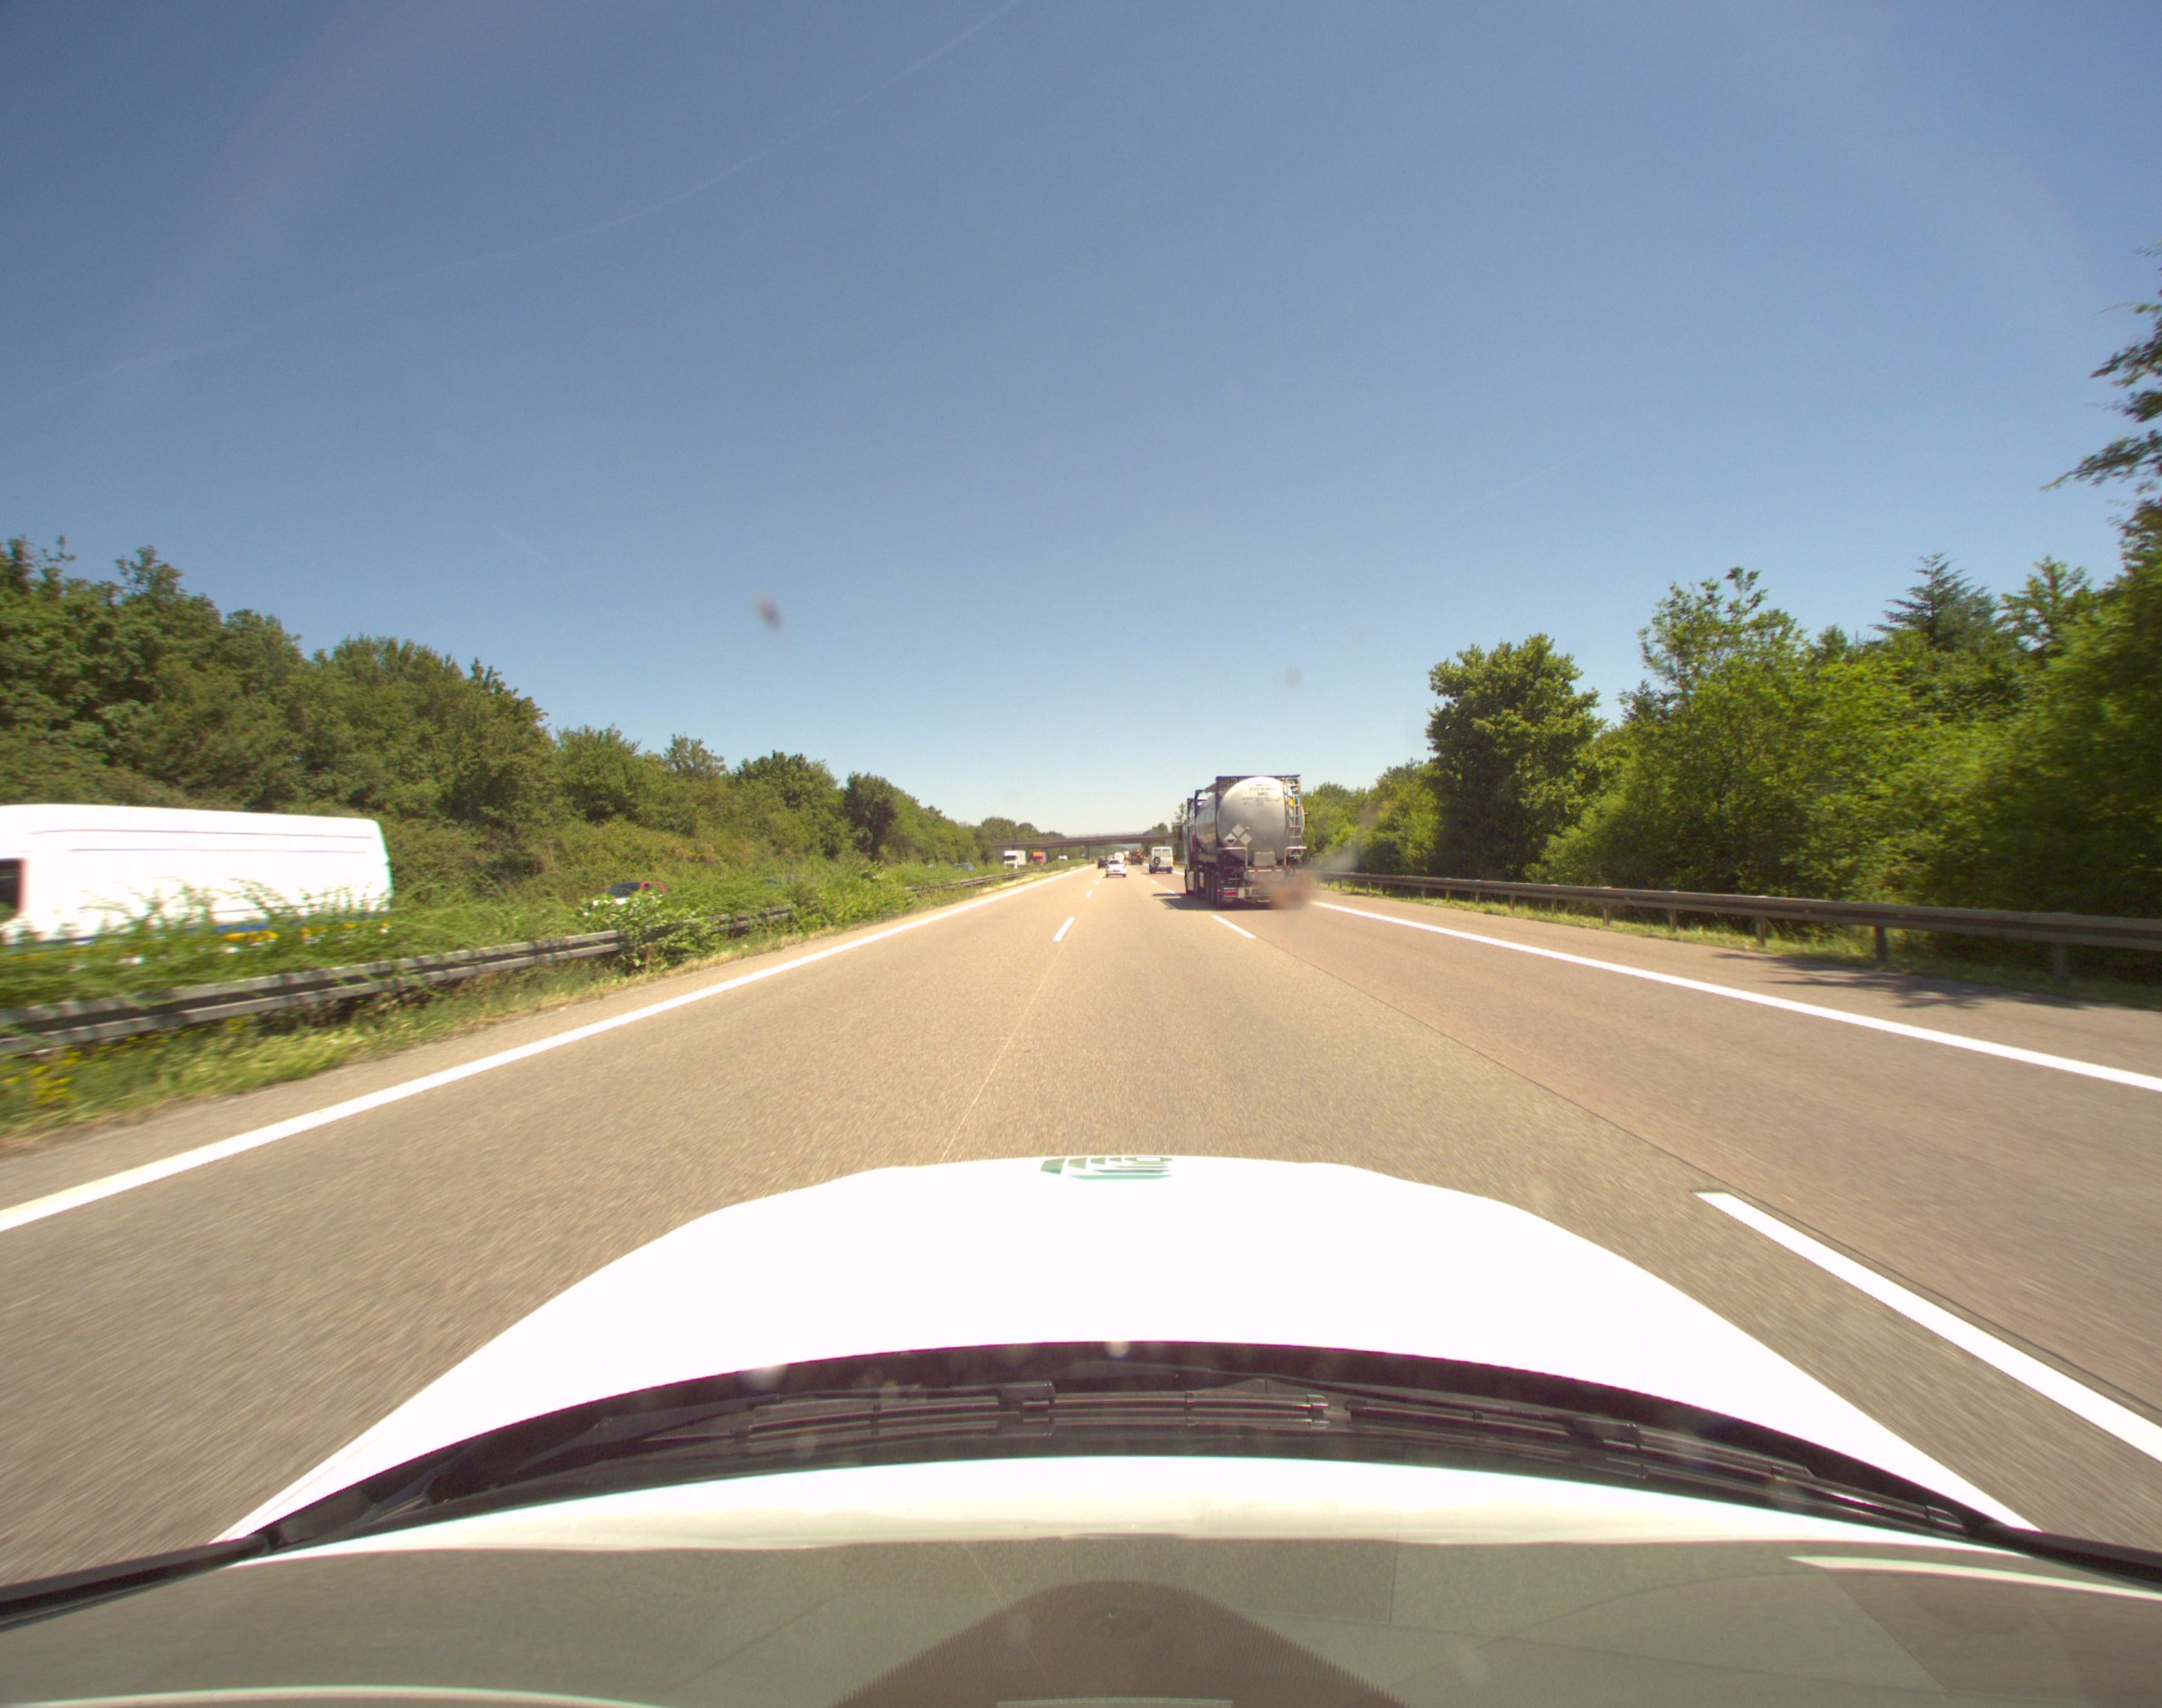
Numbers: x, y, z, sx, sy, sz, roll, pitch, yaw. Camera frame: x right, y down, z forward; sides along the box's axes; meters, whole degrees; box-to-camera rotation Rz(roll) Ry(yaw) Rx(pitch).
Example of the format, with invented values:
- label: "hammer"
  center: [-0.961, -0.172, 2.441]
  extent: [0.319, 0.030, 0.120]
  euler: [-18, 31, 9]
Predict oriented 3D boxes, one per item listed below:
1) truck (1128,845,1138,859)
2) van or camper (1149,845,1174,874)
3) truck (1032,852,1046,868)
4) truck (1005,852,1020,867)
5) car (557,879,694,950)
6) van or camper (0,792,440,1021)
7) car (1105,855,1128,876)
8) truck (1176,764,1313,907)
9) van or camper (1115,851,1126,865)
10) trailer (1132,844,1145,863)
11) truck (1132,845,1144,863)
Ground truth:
- label: "truck"
  center: [16.720, -0.467, 261.099]
  extent: [3.065, 4.209, 16.860]
  euler: [-1, 0, 4]
- label: "van or camper"
  center: [8.025, 0.543, 81.870]
  extent: [2.105, 2.703, 6.371]
  euler: [-1, 0, 2]
- label: "truck"
  center: [-10.936, 1.596, 213.087]
  extent: [3.124, 4.231, 5.179]
  euler: [-1, -1, 3]
- label: "truck"
  center: [-13.541, 1.019, 161.039]
  extent: [2.327, 2.891, 4.867]
  euler: [-1, -1, 3]
- label: "car"
  center: [-14.669, 1.893, 26.532]
  extent: [1.985, 2.014, 4.178]
  euler: [-1, 0, 2]
- label: "van or camper"
  center: [-12.327, 0.569, 10.844]
  extent: [2.416, 2.366, 6.338]
  euler: [-1, 0, 2]
- label: "car"
  center: [3.023, 0.969, 69.431]
  extent: [1.850, 1.652, 4.001]
  euler: [-1, 0, 2]
- label: "truck"
  center: [5.426, -0.487, 29.822]
  extent: [2.787, 4.046, 13.361]
  euler: [-1, 0, 2]
- label: "van or camper"
  center: [7.819, 0.797, 161.679]
  extent: [2.049, 2.622, 5.990]
  euler: [-2, -1, 3]
- label: "trailer"
  center: [12.717, -0.157, 180.857]
  extent: [2.642, 3.958, 13.648]
  euler: [-1, 0, 3]
- label: "truck"
  center: [13.181, 0.046, 188.118]
  extent: [2.658, 3.994, 6.642]
  euler: [-1, 0, 3]
